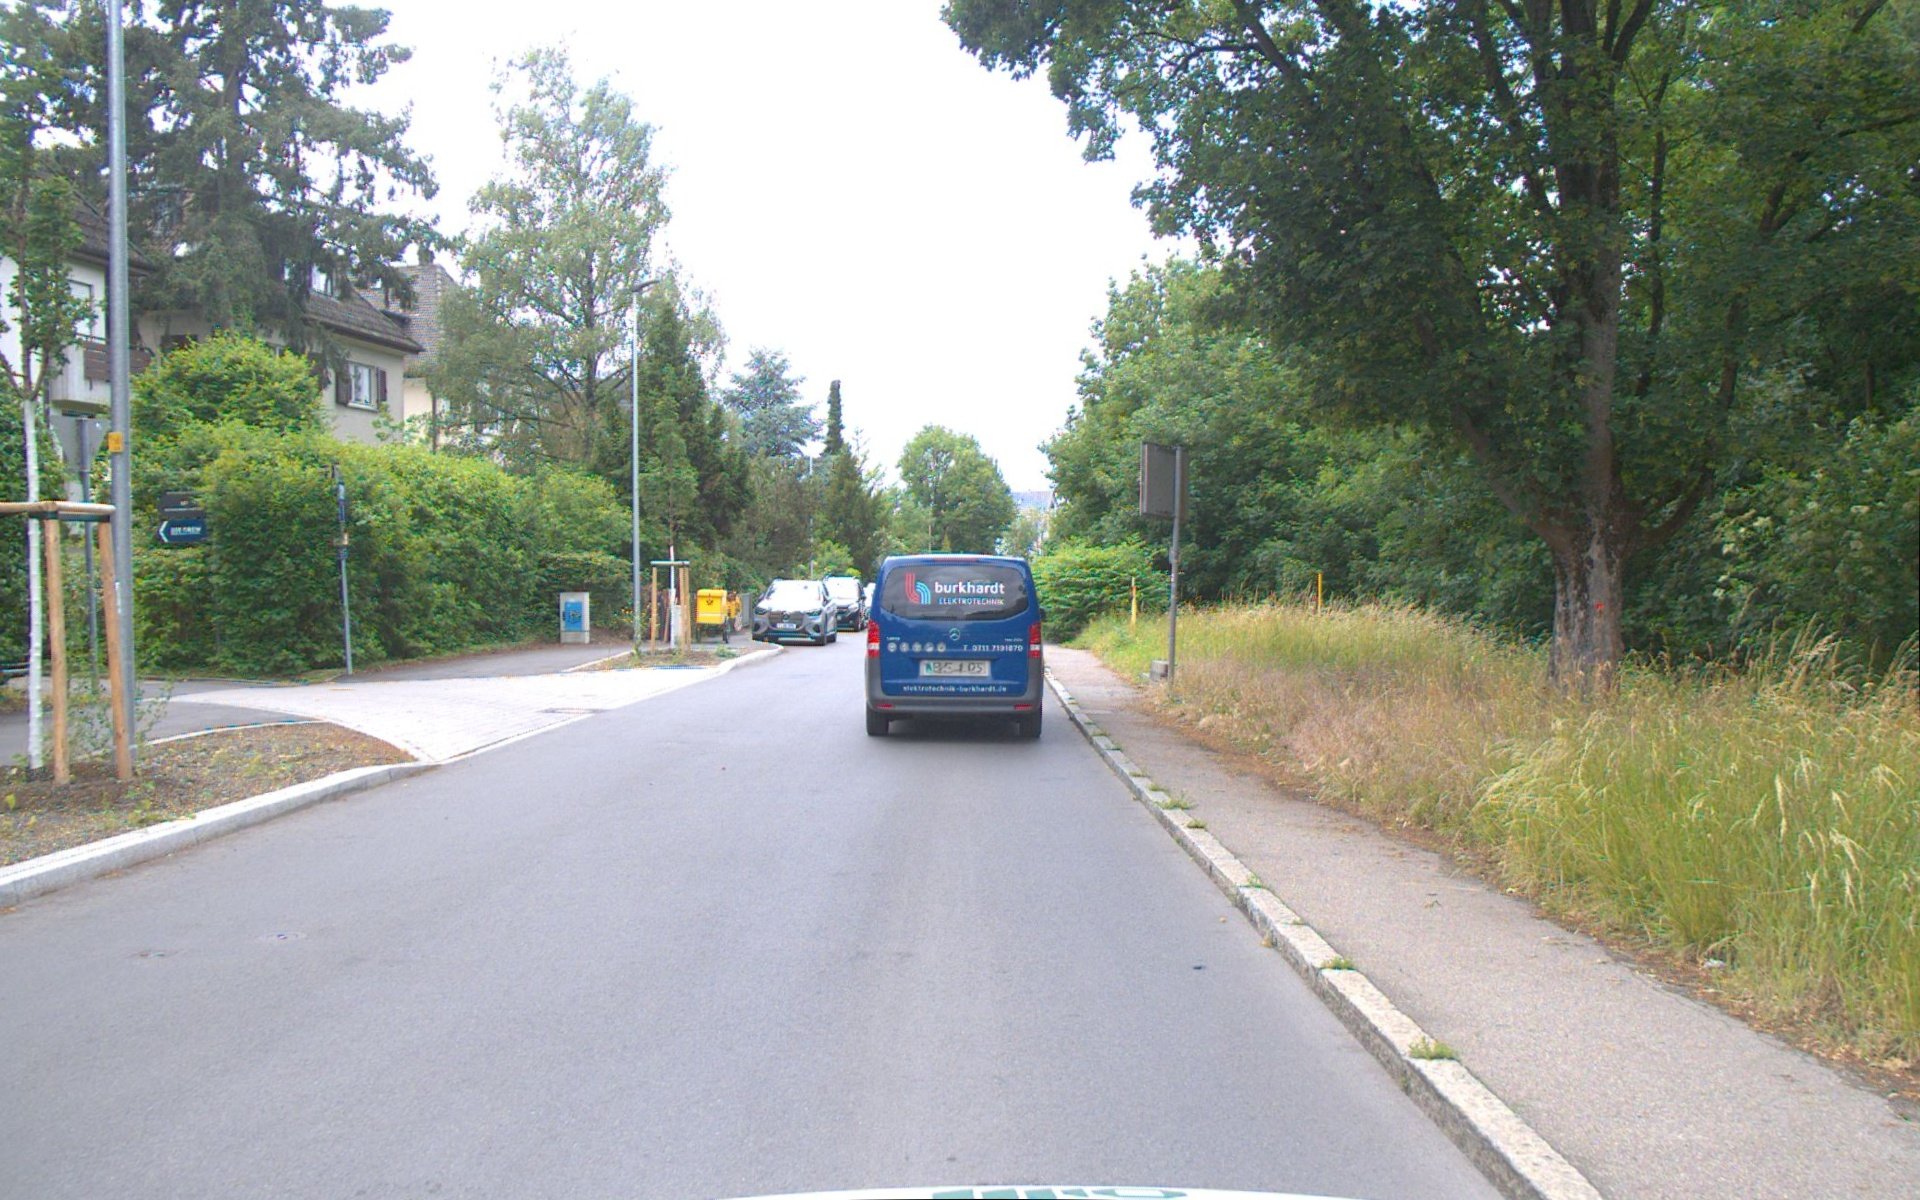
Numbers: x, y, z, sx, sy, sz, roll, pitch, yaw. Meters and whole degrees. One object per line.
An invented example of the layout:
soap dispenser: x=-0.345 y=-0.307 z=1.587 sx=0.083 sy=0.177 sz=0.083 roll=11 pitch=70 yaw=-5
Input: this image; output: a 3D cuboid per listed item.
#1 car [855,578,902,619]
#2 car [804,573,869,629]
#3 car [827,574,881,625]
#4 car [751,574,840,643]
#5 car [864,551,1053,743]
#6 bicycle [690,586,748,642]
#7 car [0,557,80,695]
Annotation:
car: x=-3.798 y=-0.110 z=77.792 sx=1.853 sy=1.721 sz=4.550 roll=1 pitch=2 yaw=1
car: x=-4.151 y=-0.001 z=56.146 sx=1.794 sy=1.782 sz=4.001 roll=1 pitch=1 yaw=1
car: x=-3.962 y=-0.024 z=62.313 sx=1.794 sy=1.836 sz=4.000 roll=1 pitch=0 yaw=0
car: x=-4.246 y=0.193 z=43.243 sx=1.798 sy=1.659 sz=4.301 roll=1 pitch=0 yaw=1
car: x=-0.118 y=0.414 z=18.205 sx=1.851 sy=1.876 sz=3.998 roll=0 pitch=1 yaw=-3
bicycle: x=-5.840 y=0.321 z=40.319 sx=0.887 sy=1.273 sz=2.916 roll=2 pitch=0 yaw=1
car: x=-13.254 y=0.232 z=20.257 sx=3.904 sy=1.621 sz=1.869 roll=2 pitch=0 yaw=2
